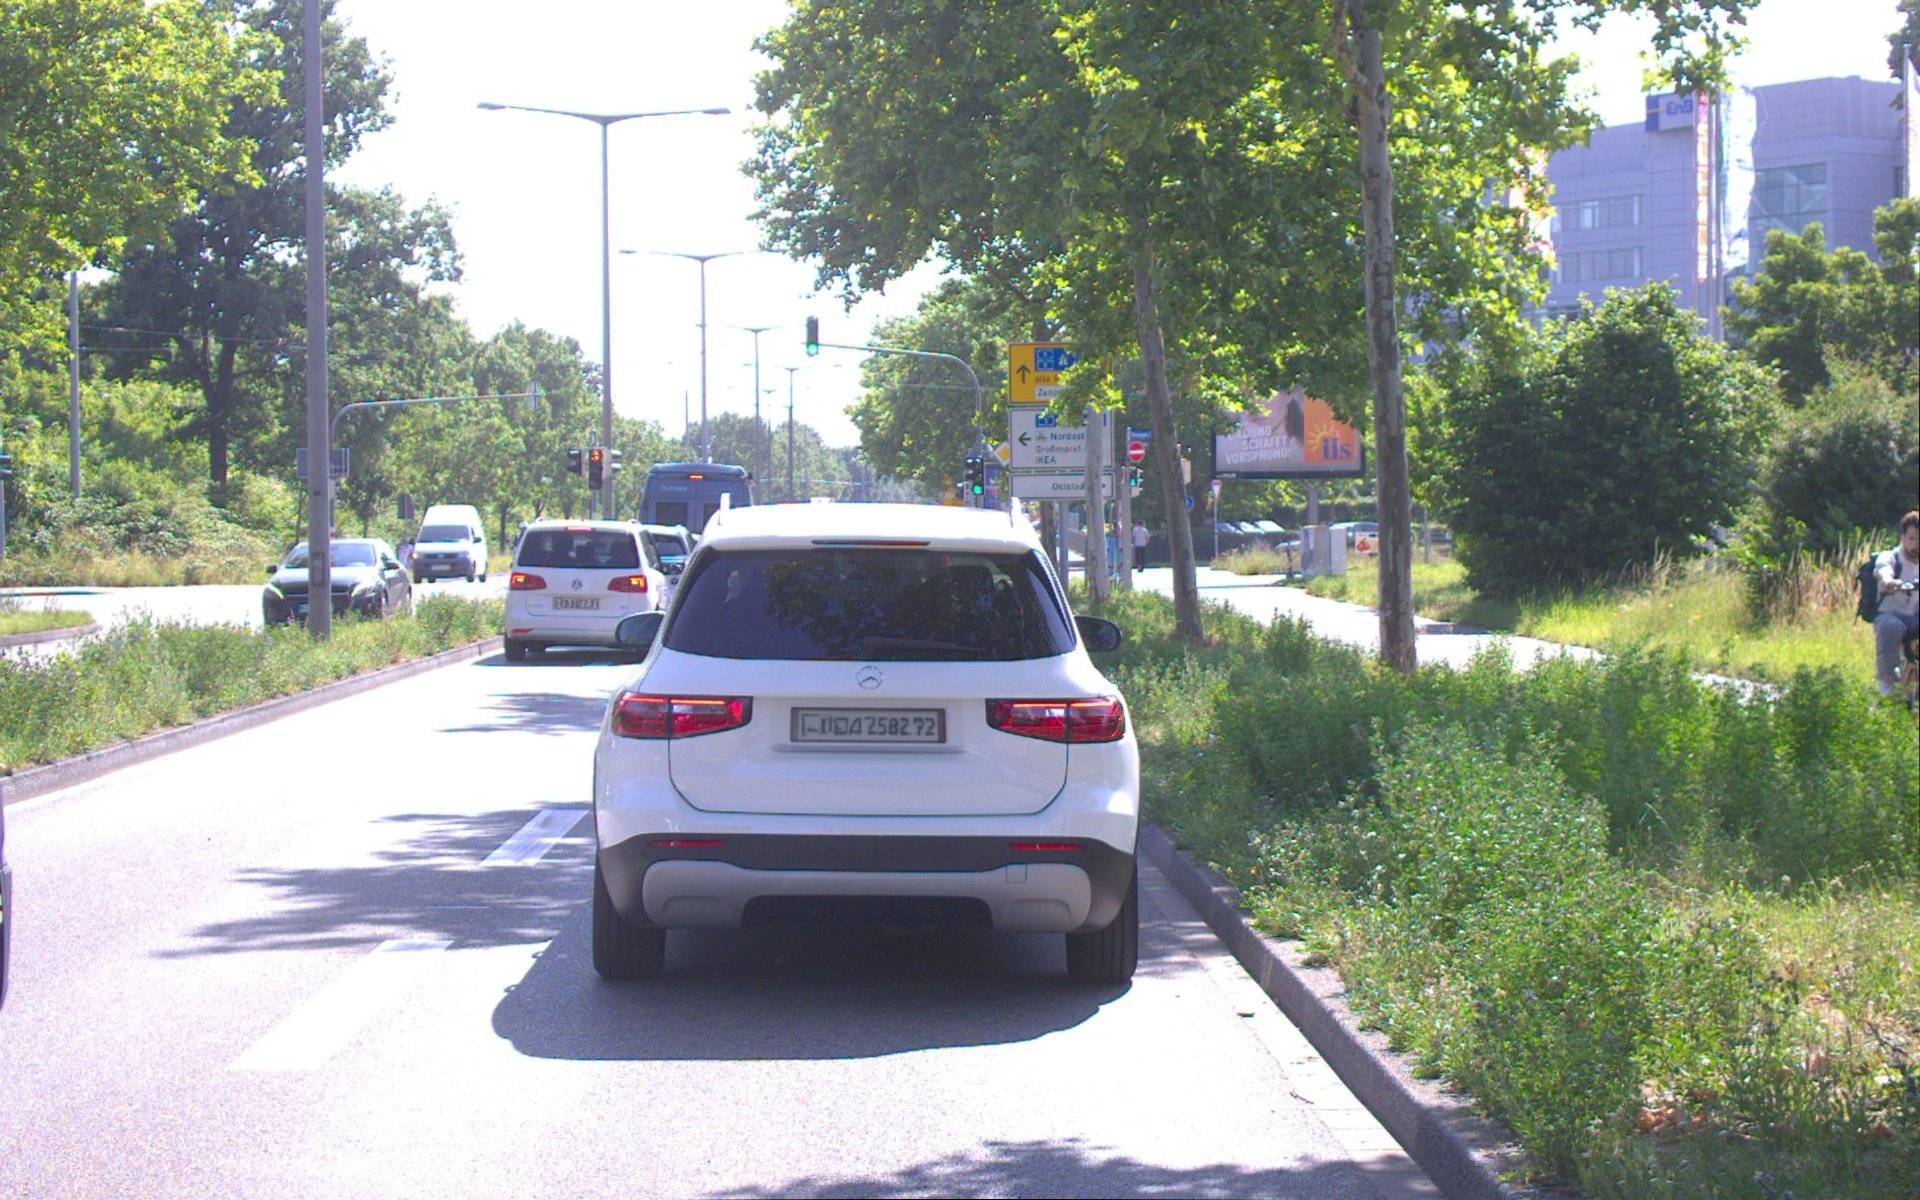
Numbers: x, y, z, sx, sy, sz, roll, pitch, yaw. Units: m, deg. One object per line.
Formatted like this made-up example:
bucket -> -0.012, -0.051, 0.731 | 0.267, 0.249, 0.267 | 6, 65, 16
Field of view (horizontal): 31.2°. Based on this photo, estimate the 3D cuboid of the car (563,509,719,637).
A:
car -> -4.278, -0.386, 46.587 | 1.771, 1.641, 4.085 | 1, 1, -1

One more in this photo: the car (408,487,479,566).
car -> -16.130, -2.303, 107.576 | 1.993, 2.410, 5.140 | 0, 1, -6

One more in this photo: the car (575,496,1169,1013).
car -> -0.455, 0.437, 12.729 | 1.853, 1.602, 4.001 | 0, 1, -5

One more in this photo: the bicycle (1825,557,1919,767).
bicycle -> 6.278, 0.379, 22.389 | 0.722, 1.294, 2.096 | 1, 1, -1

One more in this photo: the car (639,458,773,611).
car -> -4.592, -1.188, 62.695 | 2.081, 2.647, 4.874 | 1, 1, -1

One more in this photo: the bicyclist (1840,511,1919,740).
bicyclist -> 6.296, 0.159, 22.655 | 0.704, 1.472, 1.010 | 1, 1, -1

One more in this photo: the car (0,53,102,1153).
car -> -3.241, 0.039, 5.976 | 2.016, 2.598, 6.169 | 1, 1, -1

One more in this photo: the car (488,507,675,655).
car -> -4.428, -0.247, 40.727 | 1.771, 1.641, 4.352 | 1, 1, -1

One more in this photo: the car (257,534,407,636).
car -> -9.416, -0.251, 51.774 | 1.602, 1.467, 3.790 | 1, 1, -1

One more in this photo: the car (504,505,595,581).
car -> -10.776, -1.501, 90.475 | 1.993, 1.875, 4.000 | 2, 1, -2
